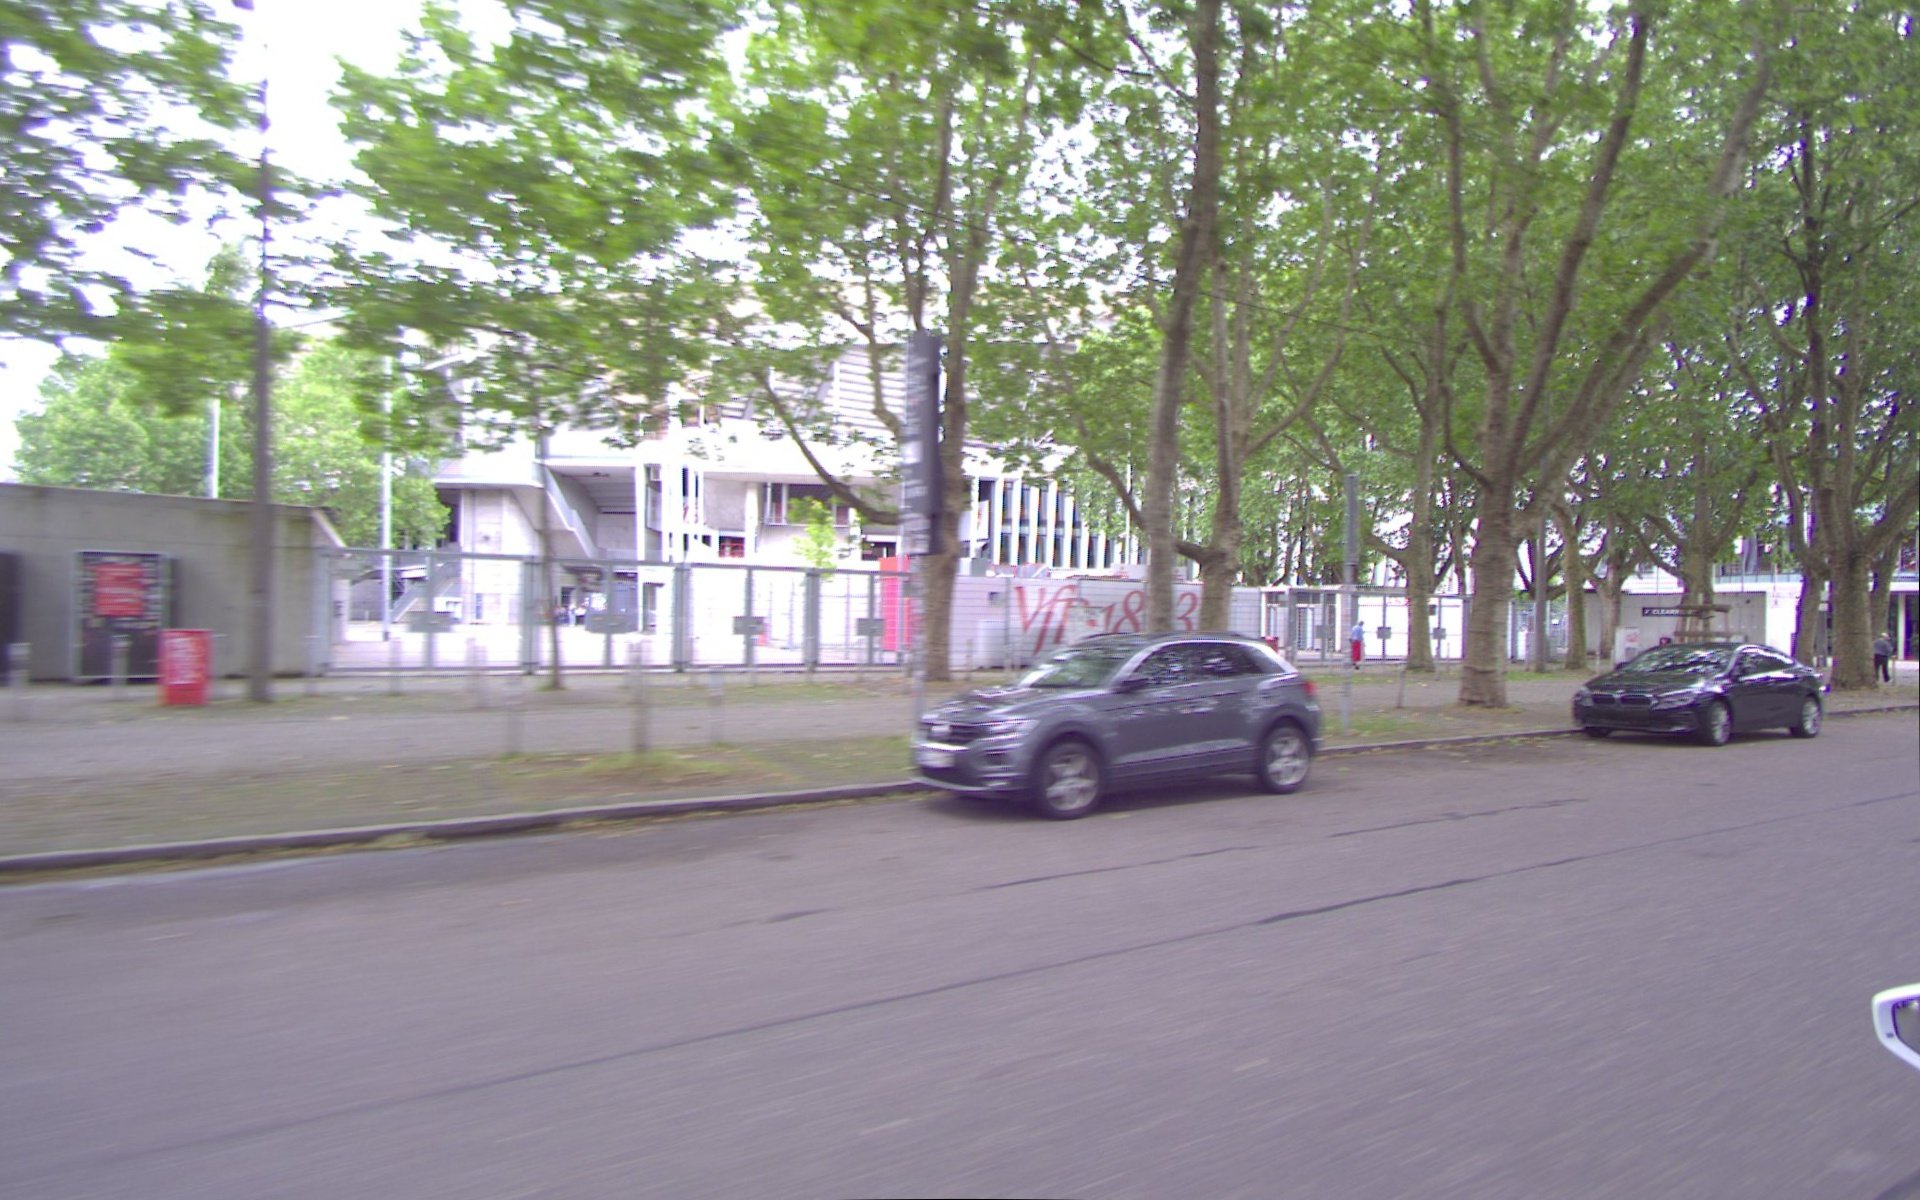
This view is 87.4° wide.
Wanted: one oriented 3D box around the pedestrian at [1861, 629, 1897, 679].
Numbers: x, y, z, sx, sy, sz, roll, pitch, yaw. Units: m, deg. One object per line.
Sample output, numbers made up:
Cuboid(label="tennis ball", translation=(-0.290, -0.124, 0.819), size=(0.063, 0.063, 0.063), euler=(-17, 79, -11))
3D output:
Cuboid(label="pedestrian", translation=(30.674, 1.799, 33.535), size=(0.780, 1.641, 0.591), euler=(1, -1, -21))

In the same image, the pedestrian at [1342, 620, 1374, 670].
Cuboid(label="pedestrian", translation=(12.622, 1.416, 31.847), size=(0.652, 1.564, 0.664), euler=(1, 0, -29))

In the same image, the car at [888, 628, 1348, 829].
Cuboid(label="car", translation=(1.562, 1.056, 9.591), size=(4.102, 1.547, 1.869), euler=(1, -2, -30))

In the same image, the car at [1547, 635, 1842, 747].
Cuboid(label="car", translation=(11.174, 1.287, 15.231), size=(4.569, 1.485, 1.820), euler=(1, -2, -28))
